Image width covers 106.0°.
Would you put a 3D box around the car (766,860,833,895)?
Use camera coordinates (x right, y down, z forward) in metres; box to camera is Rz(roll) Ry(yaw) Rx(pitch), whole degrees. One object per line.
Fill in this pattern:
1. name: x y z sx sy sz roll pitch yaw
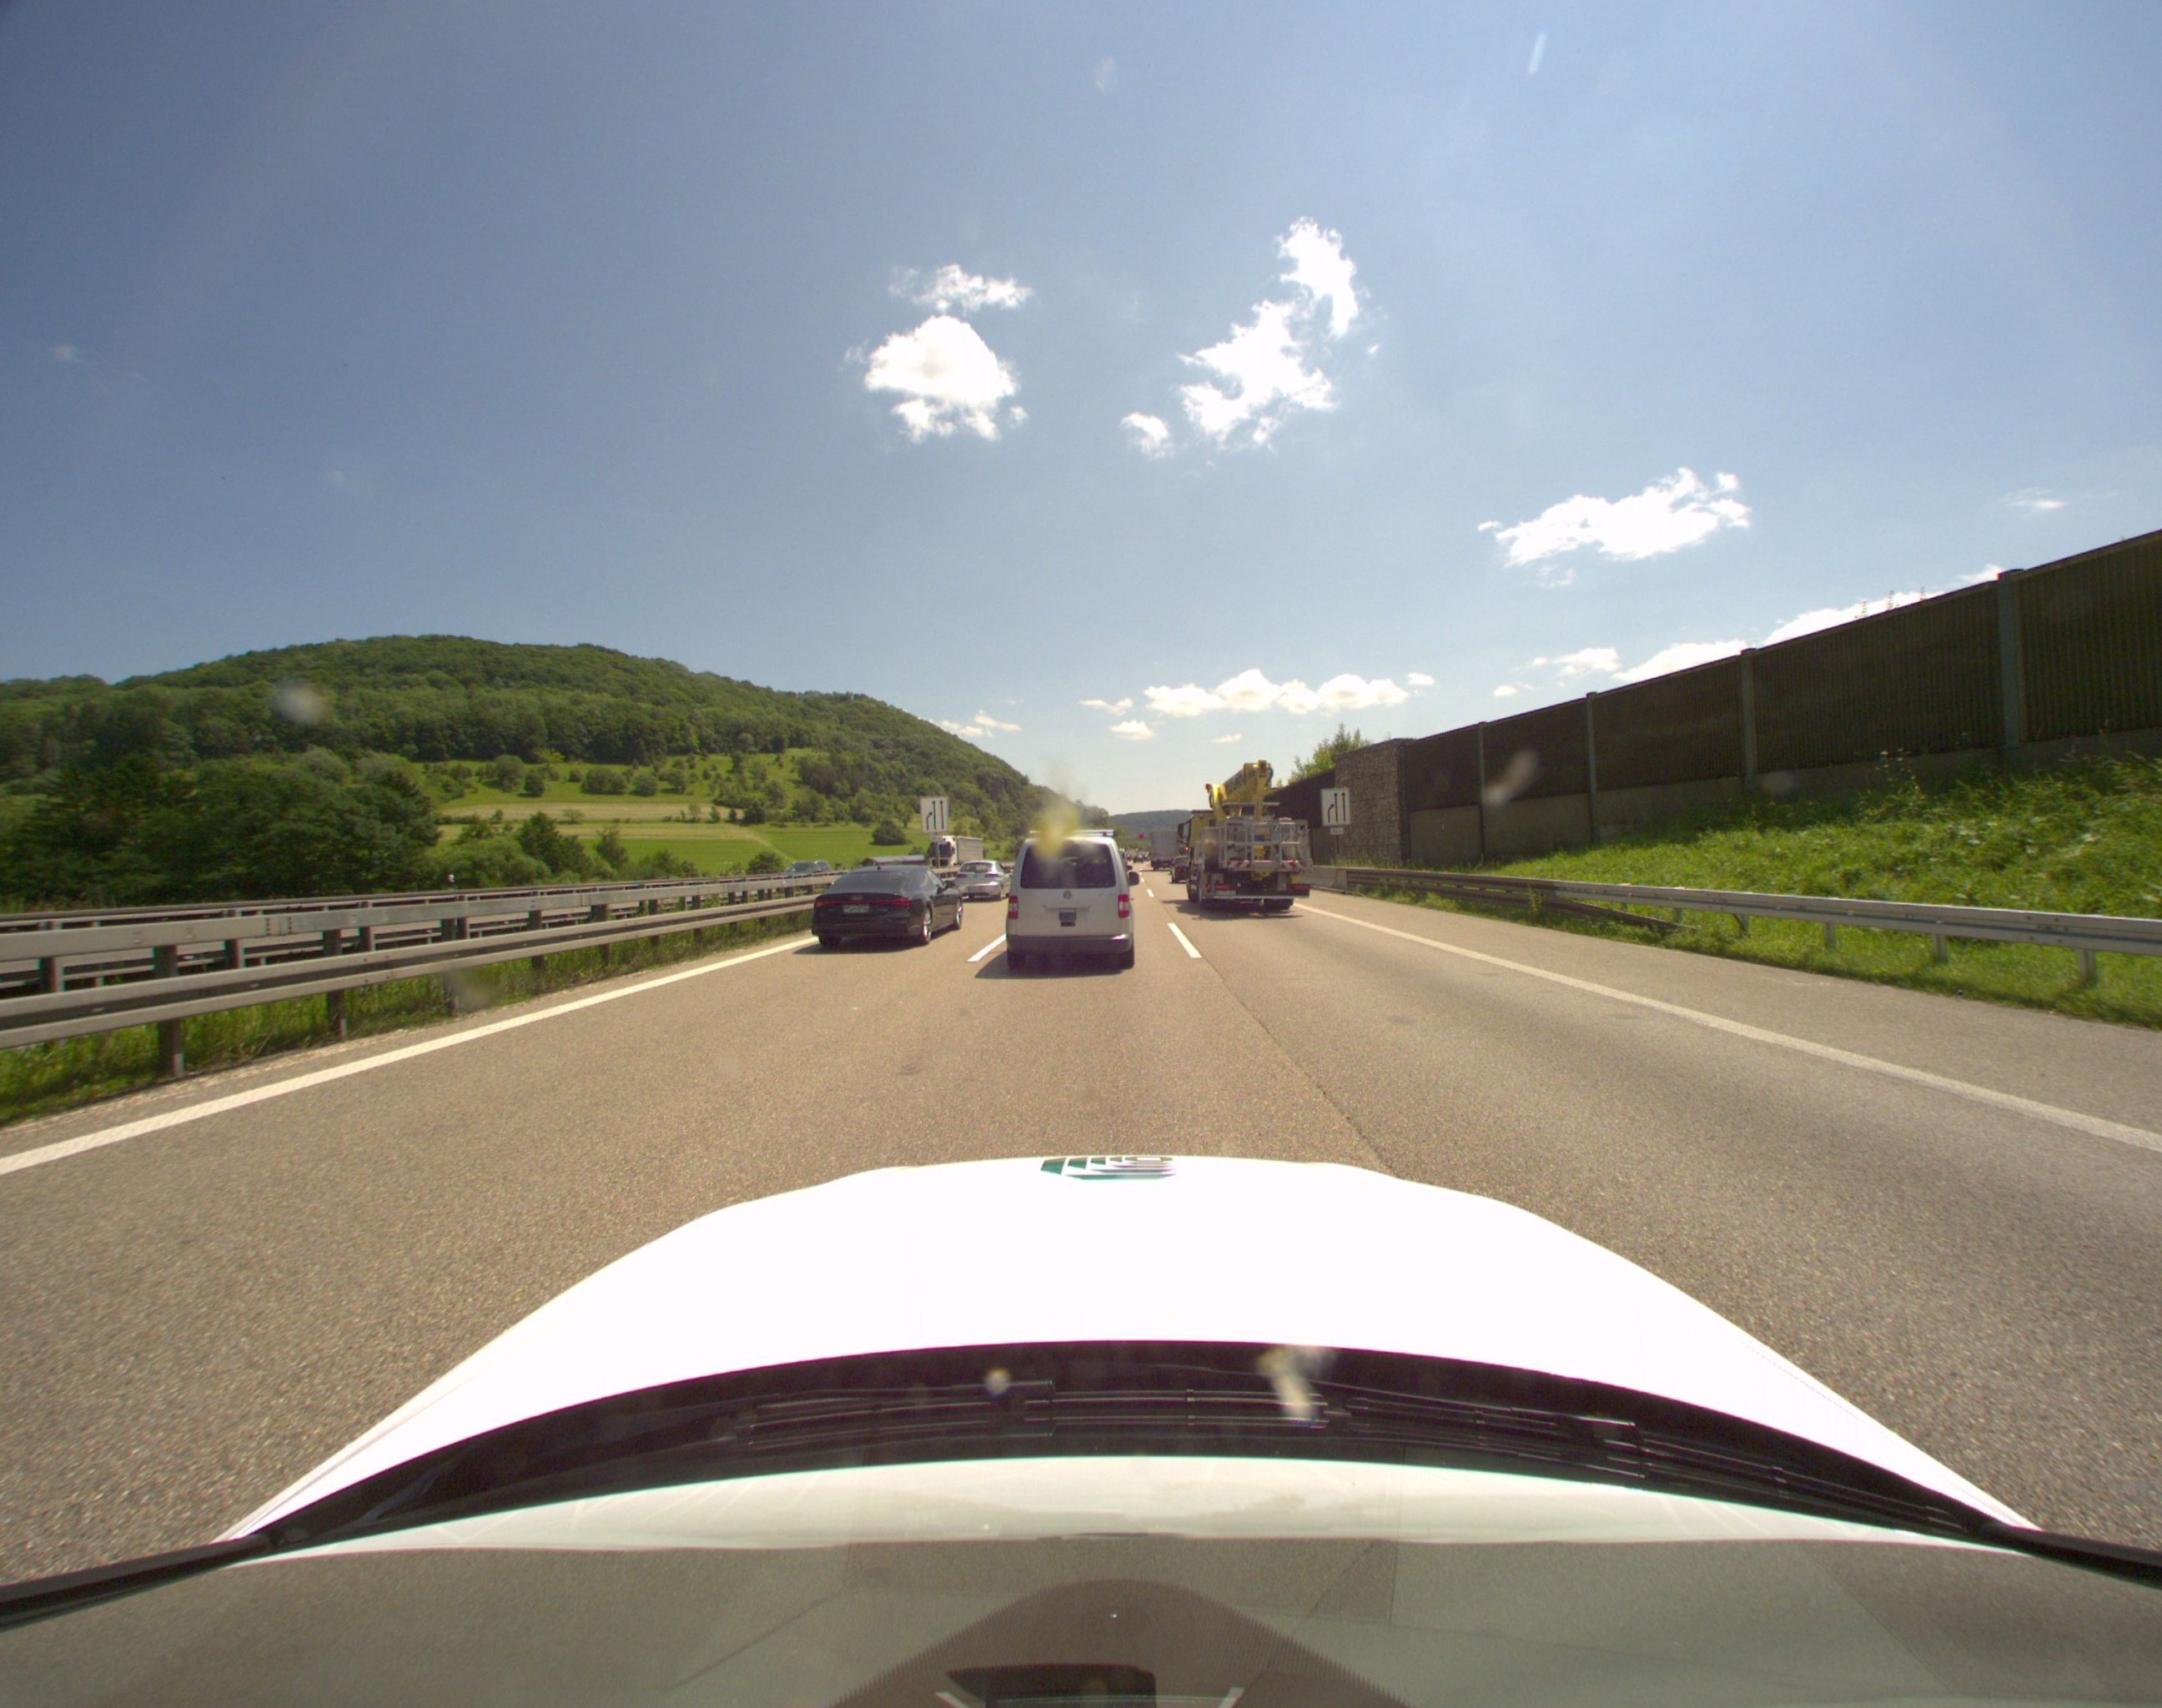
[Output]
1. car: -14.214 1.142 41.344 1.842 1.609 4.080 -1 0 2

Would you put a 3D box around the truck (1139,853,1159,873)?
1. truck: 8.907 1.169 106.186 2.378 2.541 5.949 -1 0 6

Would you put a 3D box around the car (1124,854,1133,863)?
1. car: 10.229 0.996 175.794 1.986 1.805 4.001 0 -1 1

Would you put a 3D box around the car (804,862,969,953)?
1. car: -3.477 0.876 15.578 1.794 1.390 4.971 -1 0 2

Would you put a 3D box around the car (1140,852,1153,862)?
1. car: 13.046 0.577 162.349 2.107 1.828 3.999 0 -1 0

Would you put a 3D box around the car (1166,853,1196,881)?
1. car: 7.776 0.989 63.643 1.986 2.013 4.002 -1 0 2

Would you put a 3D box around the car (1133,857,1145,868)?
1. car: 9.910 1.428 139.119 1.985 1.749 4.003 0 -1 3

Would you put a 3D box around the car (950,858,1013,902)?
1. car: -3.533 0.874 29.521 1.690 1.445 3.862 -1 0 1

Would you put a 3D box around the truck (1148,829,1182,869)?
1. truck: 8.264 -0.415 80.899 2.928 3.823 8.242 0 -1 3

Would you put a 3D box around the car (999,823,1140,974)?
1. car: -0.125 0.563 12.300 1.750 1.868 4.000 -1 0 0

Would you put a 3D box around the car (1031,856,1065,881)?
1. car: -2.029 0.887 51.211 1.918 1.499 4.000 -1 0 0

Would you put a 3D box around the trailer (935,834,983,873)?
1. trailer: -14.090 0.047 95.378 2.842 4.191 13.626 0 -1 3

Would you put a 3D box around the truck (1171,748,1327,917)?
1. truck: 4.456 -0.497 23.584 2.695 3.942 8.721 -1 0 0

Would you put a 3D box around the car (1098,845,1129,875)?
1. car: 2.206 0.416 56.460 1.987 1.975 4.000 -1 0 0

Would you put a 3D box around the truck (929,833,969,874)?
1. truck: -14.442 -0.014 89.726 2.786 4.232 7.237 0 -1 3

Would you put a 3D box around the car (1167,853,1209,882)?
1. car: 5.705 0.714 43.954 1.780 1.458 3.771 -1 0 0
